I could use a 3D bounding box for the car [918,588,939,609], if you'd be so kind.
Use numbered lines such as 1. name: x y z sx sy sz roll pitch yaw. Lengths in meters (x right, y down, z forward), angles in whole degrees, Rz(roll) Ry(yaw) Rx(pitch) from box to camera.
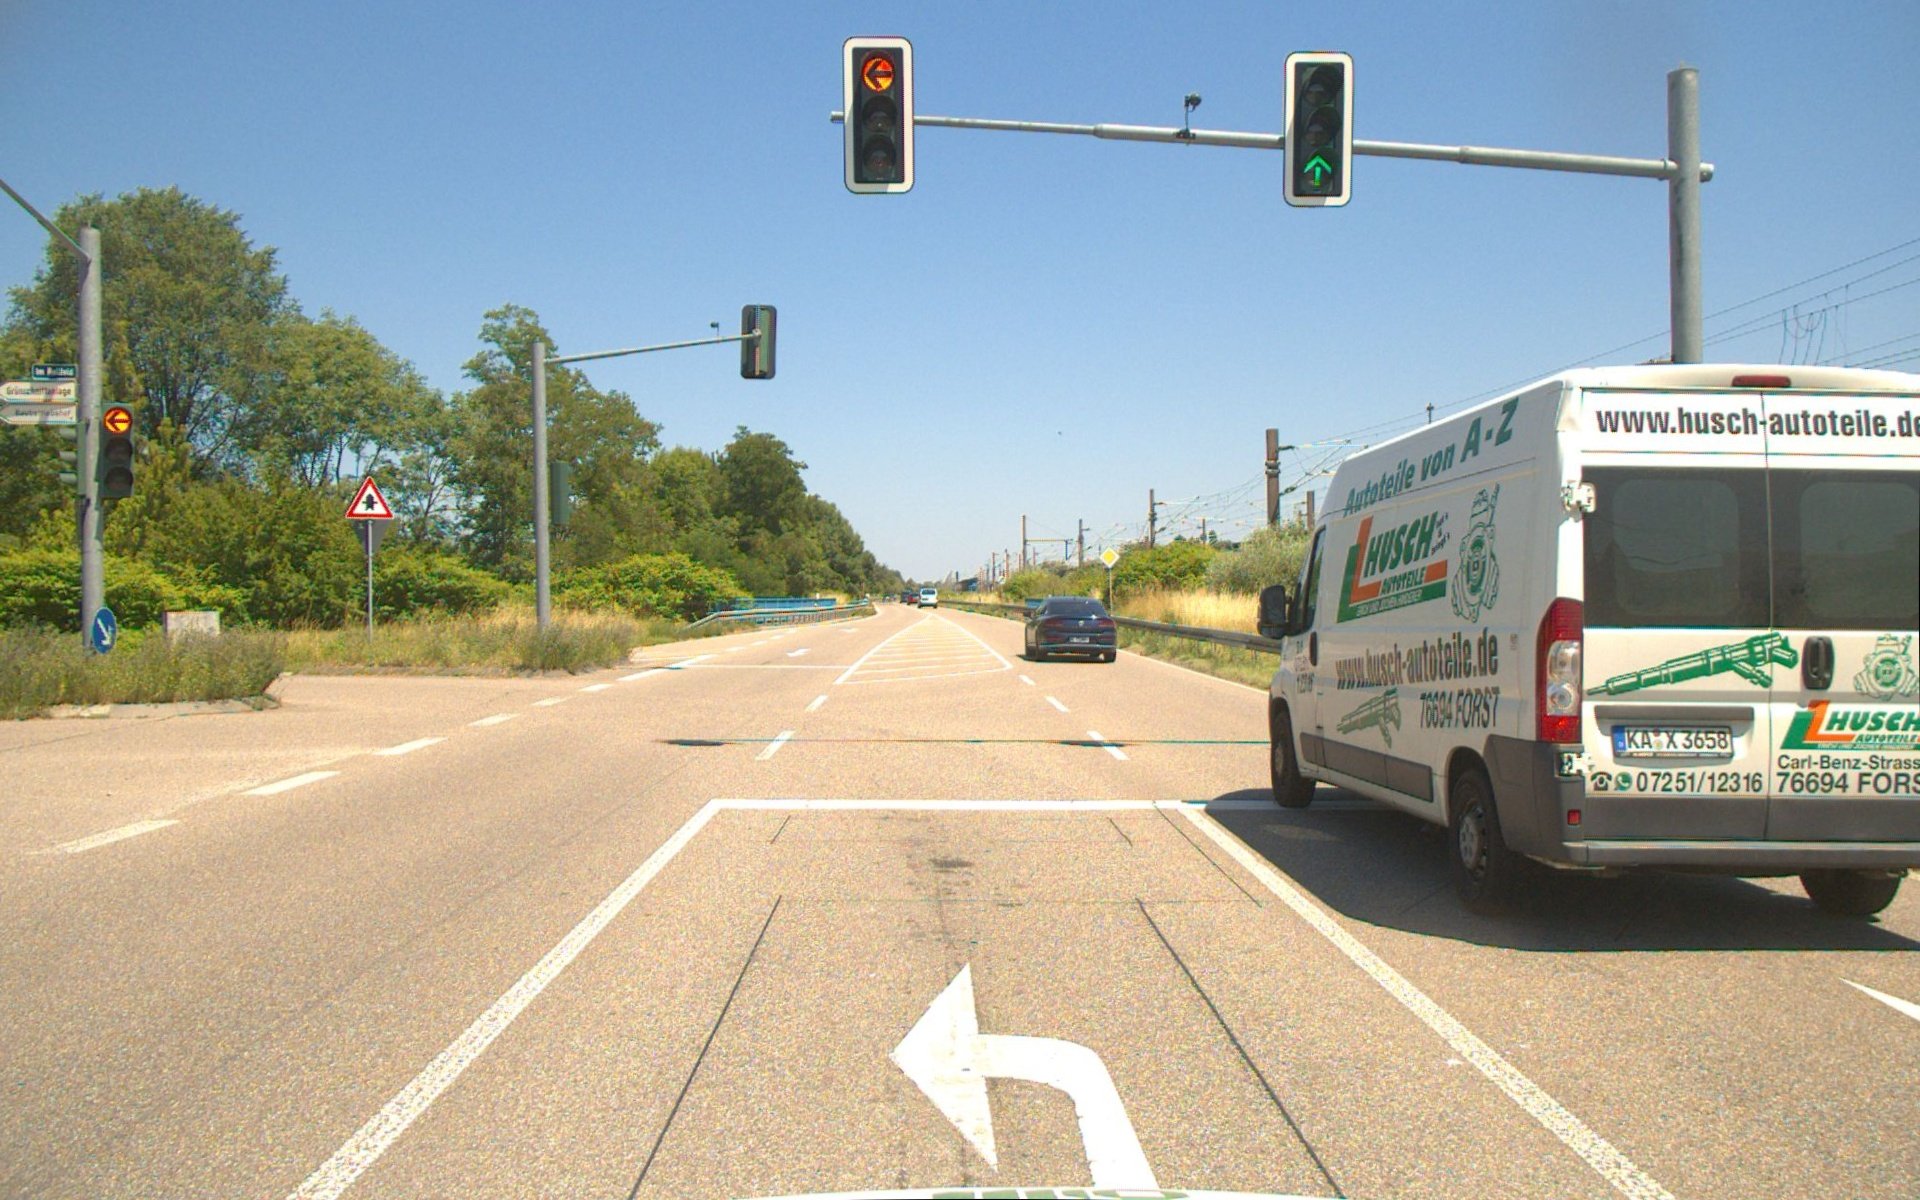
1. car: -3.176 -0.163 164.738 1.953 2.018 4.058 1 0 -2

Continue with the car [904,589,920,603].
1. car: -6.185 -0.552 213.701 1.979 1.756 4.540 0 0 -3

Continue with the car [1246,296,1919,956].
1. car: 3.471 0.087 10.074 2.144 2.649 6.749 1 0 -1

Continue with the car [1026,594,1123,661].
1. car: 2.568 0.589 38.090 1.819 1.404 4.502 1 0 -1
